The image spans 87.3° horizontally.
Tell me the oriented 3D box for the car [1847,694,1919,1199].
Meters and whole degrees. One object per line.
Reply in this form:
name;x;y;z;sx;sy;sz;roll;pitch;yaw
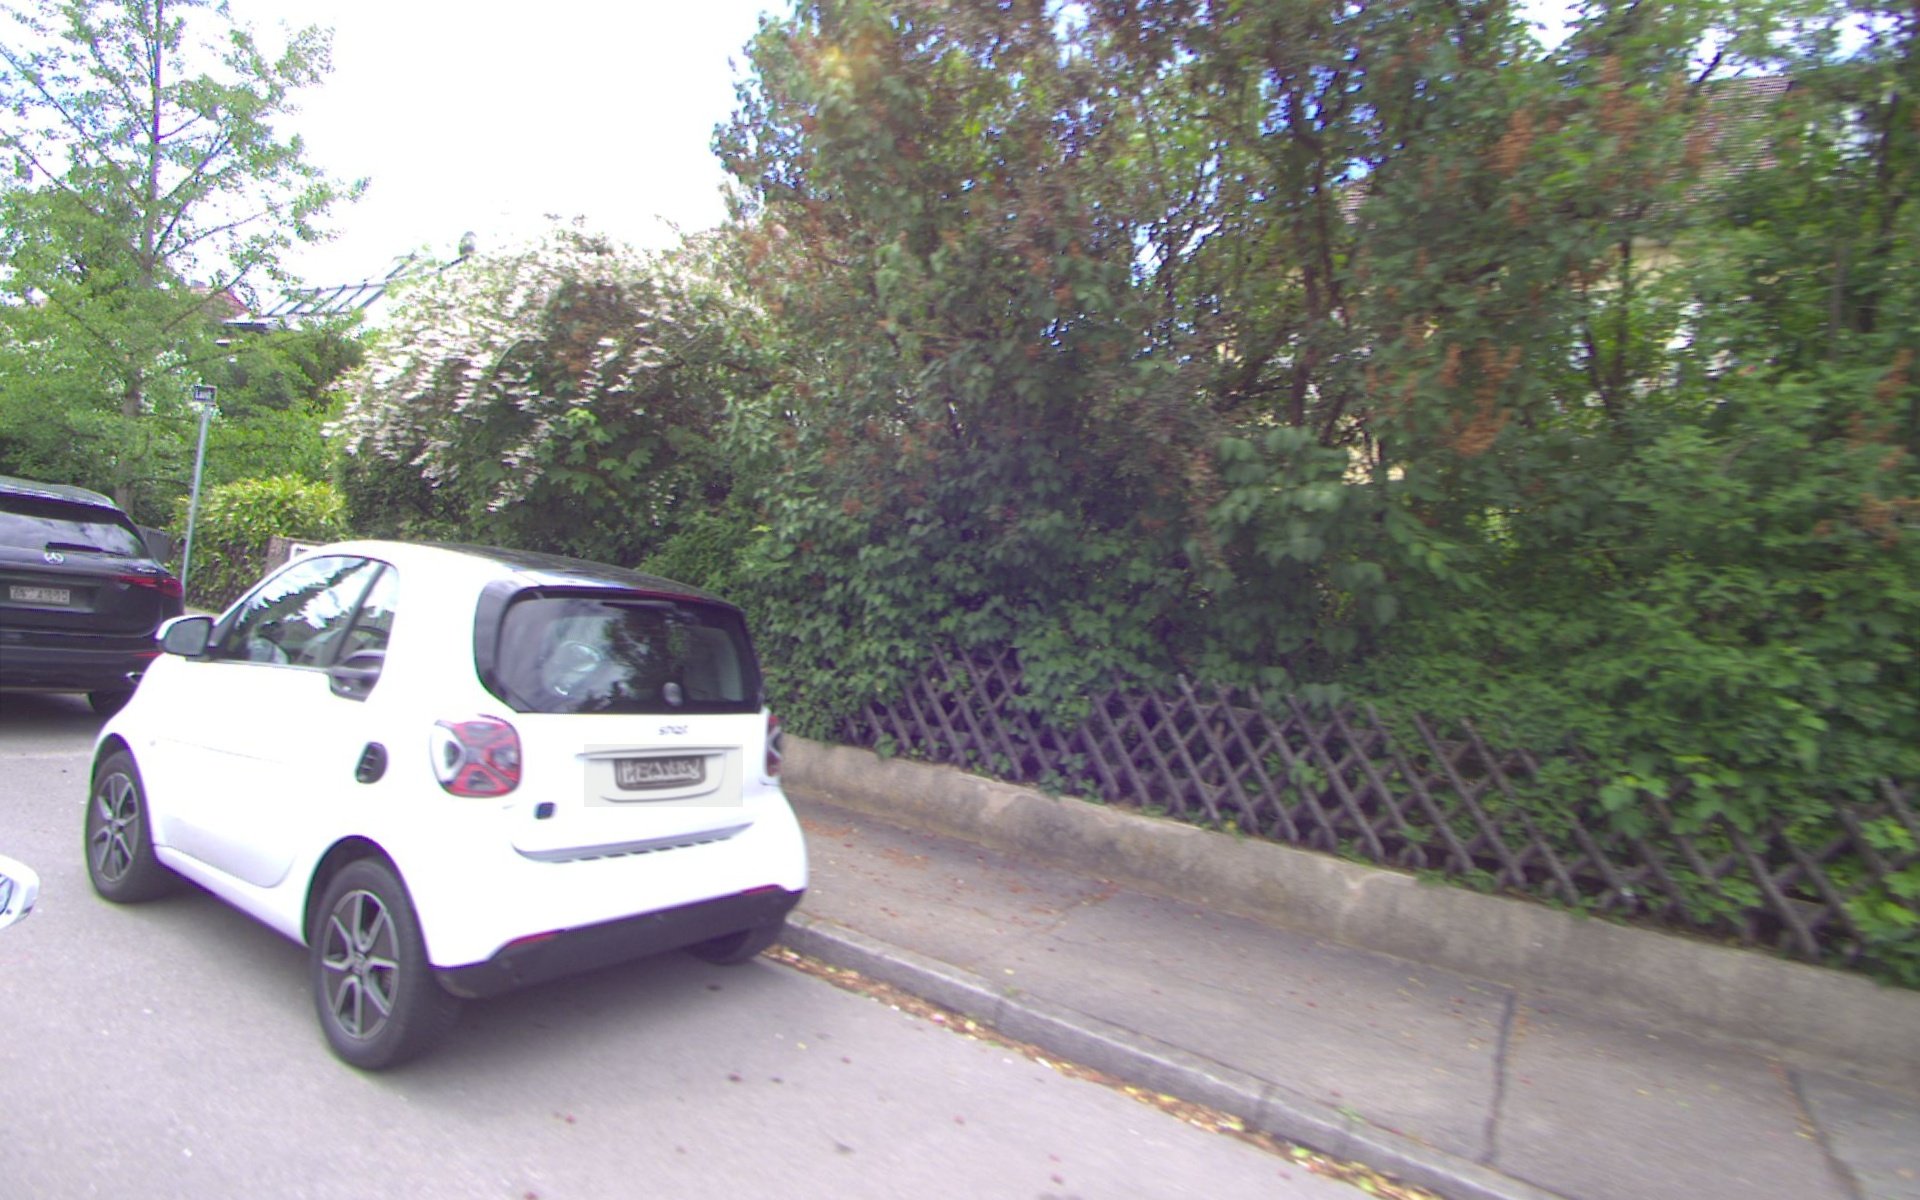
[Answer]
car;3.427;1.151;0.568;4.073;1.611;1.803;7;-1;33

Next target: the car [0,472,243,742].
car;-7.582;-0.133;7.432;4.302;1.645;1.955;7;-2;29

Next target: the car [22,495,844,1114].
car;-2.209;0.525;4.131;2.963;1.529;1.601;7;-1;32
